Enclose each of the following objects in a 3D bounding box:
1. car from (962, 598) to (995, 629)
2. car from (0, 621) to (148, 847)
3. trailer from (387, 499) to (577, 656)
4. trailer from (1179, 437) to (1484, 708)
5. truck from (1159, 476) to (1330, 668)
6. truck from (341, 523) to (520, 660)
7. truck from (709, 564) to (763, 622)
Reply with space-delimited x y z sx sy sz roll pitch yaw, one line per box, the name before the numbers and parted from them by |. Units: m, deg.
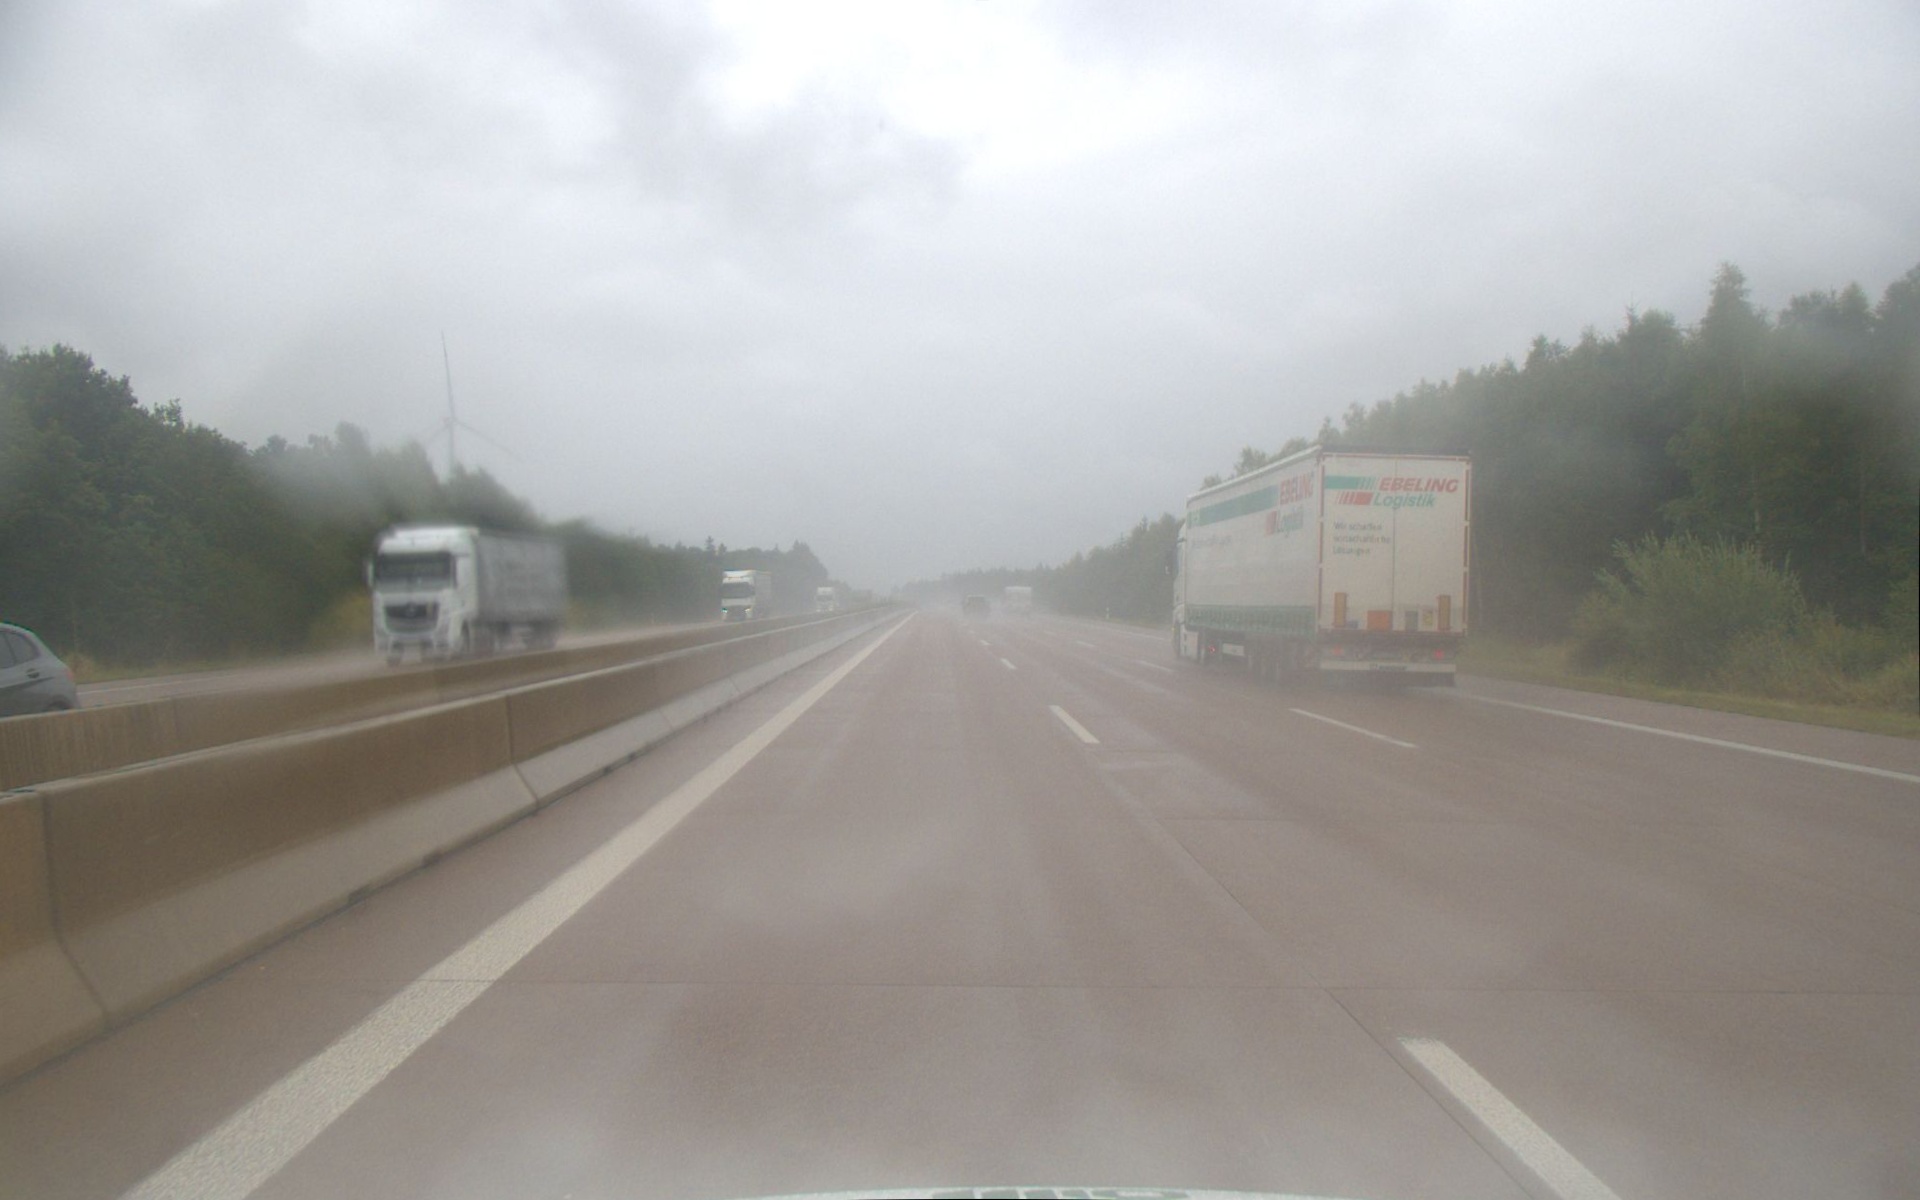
car | 1.236 0.926 113.047 2.129 2.016 4.129 -1 0 -1
car | -8.797 1.141 14.162 1.752 1.827 3.876 -1 0 0
trailer | -17.047 -0.713 60.266 3.361 4.951 12.441 -3 0 -1
trailer | 6.859 -0.515 33.224 2.795 4.305 13.128 -1 1 -1
truck | 6.673 -0.651 39.761 2.822 4.178 6.348 -1 1 -1
truck | -16.946 -0.247 53.560 3.403 3.956 7.461 -3 0 -2
truck | -17.778 -0.506 131.868 3.350 4.436 7.945 1 0 -1
